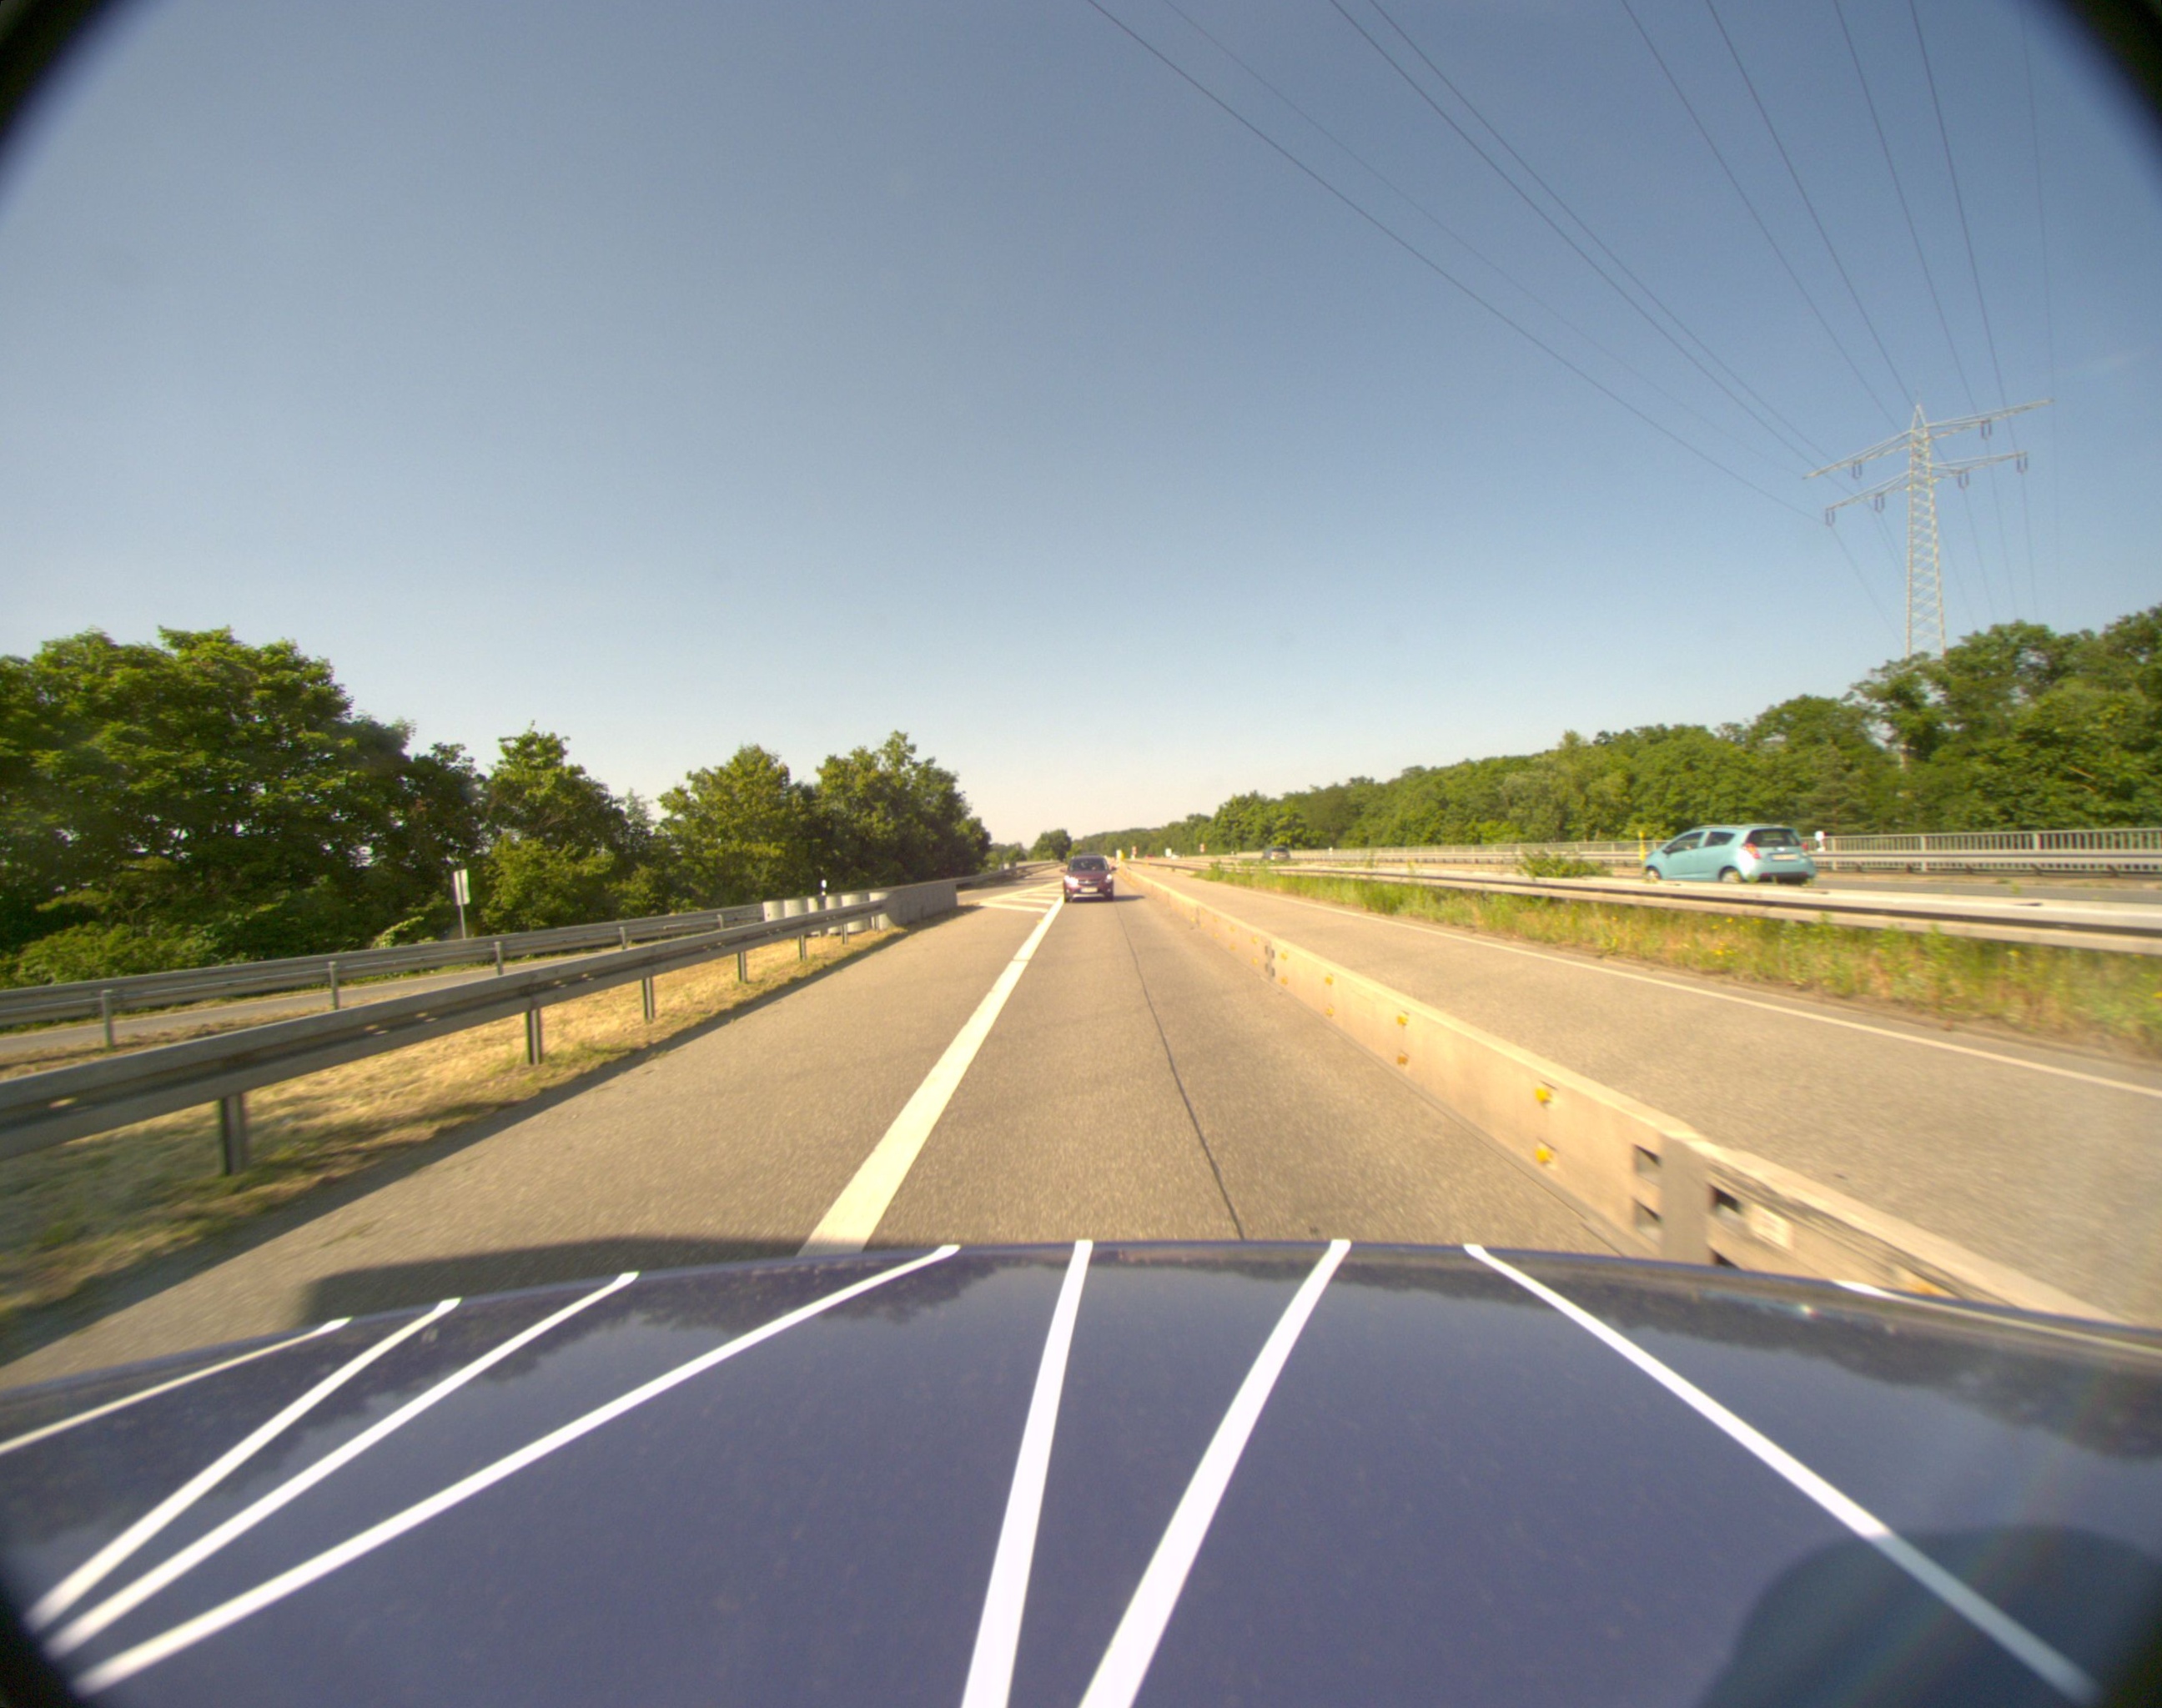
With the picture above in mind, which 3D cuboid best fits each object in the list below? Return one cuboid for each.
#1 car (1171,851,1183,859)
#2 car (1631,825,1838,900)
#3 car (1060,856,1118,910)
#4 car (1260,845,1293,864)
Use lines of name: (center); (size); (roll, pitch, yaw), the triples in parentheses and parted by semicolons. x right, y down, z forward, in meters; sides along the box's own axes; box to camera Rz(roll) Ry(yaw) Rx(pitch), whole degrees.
car: (17.611, 0.228, 139.145); (1.781, 1.385, 4.126); (-1, 0, 1)
car: (15.292, 0.183, 18.083); (1.651, 1.522, 3.818); (-3, 0, 1)
car: (0.333, 0.837, 23.803); (1.587, 1.491, 4.416); (-2, 0, 3)
car: (16.438, 0.034, 64.078); (1.767, 1.574, 4.422); (-1, 0, 1)
